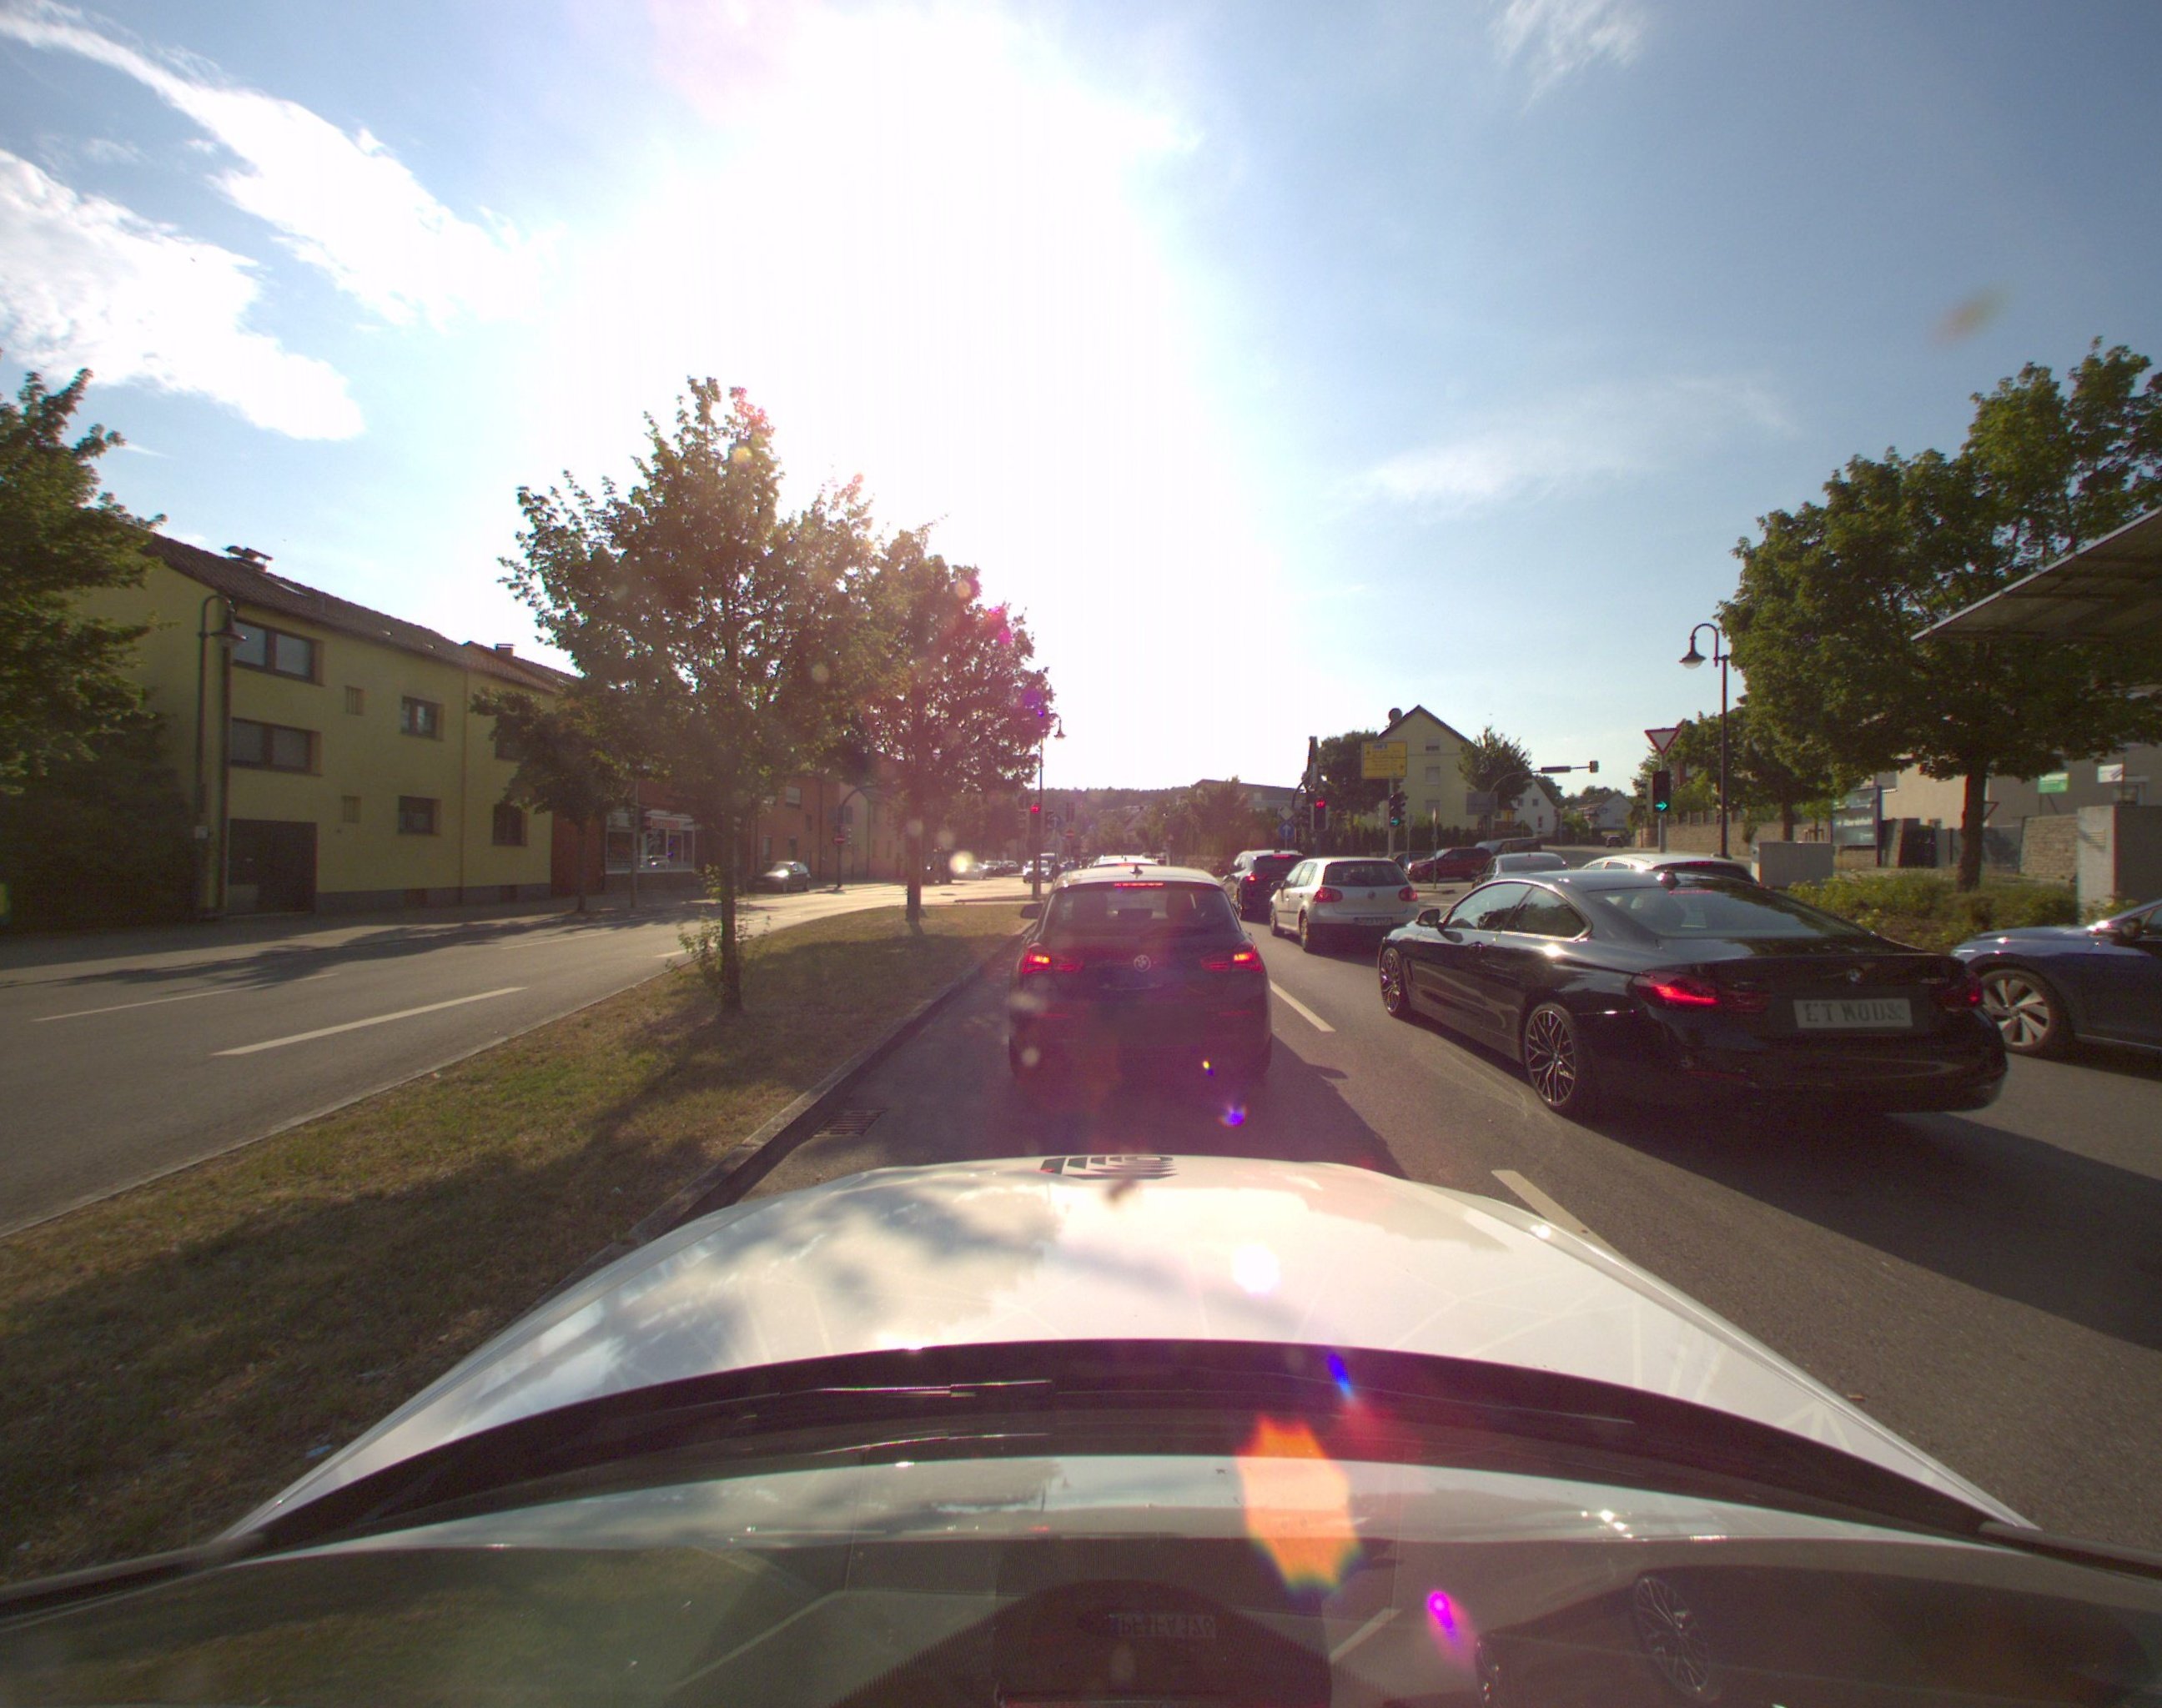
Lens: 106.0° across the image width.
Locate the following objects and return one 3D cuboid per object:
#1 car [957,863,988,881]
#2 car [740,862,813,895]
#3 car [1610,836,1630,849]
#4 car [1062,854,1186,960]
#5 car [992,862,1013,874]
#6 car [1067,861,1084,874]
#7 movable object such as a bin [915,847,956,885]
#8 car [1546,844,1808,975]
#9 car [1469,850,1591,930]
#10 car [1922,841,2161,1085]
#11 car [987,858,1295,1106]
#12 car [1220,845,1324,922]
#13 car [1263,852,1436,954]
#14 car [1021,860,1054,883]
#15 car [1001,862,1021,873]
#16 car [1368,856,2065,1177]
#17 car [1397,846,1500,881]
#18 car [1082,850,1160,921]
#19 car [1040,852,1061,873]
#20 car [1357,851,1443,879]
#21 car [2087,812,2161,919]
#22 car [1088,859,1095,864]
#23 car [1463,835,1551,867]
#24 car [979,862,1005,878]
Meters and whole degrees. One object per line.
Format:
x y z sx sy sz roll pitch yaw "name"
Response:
-9.042 1.500 68.221 1.729 1.301 3.804 4 0 5 "car"
-14.135 1.113 38.040 1.730 1.301 4.002 4 0 2 "car"
74.480 -1.586 112.500 1.945 1.680 4.242 -2 0 36 "car"
0.724 0.783 14.120 1.781 1.494 4.283 -2 0 2 "car"
-9.344 1.648 97.576 1.729 1.301 3.804 4 0 5 "car"
-0.678 1.668 102.014 1.832 1.482 4.002 -1 0 2 "car"
-9.847 0.781 55.508 1.729 2.442 4.452 -1 0 3 "movable object such as a bin"
8.115 0.675 11.473 1.608 1.542 3.326 -2 0 9 "car"
9.886 0.718 18.246 1.642 1.542 4.420 -2 0 19 "car"
7.412 0.656 4.241 1.754 1.453 4.323 -2 0 4 "car"
0.446 0.776 6.976 1.781 1.397 4.283 -2 0 2 "car"
4.573 0.653 20.053 1.755 1.656 3.905 -2 0 2 "car"
4.326 0.719 13.771 1.755 1.426 3.905 -2 0 2 "car"
-2.948 1.154 55.745 1.832 1.482 4.002 -1 0 2 "car"
-8.837 1.686 103.266 1.729 1.301 3.804 4 0 5 "car"
3.624 0.743 5.831 1.755 1.397 4.283 -2 0 2 "car"
18.353 0.461 40.745 4.410 1.641 1.845 0 0 -6 "car"
1.025 0.743 21.159 1.781 1.594 4.283 -2 0 2 "car"
-3.642 0.981 96.917 2.076 2.394 5.531 0 0 2 "car"
17.350 0.574 44.368 3.974 1.489 1.848 0 0 -1 "car"
18.498 0.164 12.393 3.793 1.632 1.784 0 0 10 "car"
3.256 2.274 243.632 1.729 1.301 3.804 4 0 5 "car"
24.512 -0.181 46.869 4.788 1.739 1.835 0 0 -22 "car"
-8.689 1.547 79.617 1.729 1.301 3.804 4 0 5 "car"
